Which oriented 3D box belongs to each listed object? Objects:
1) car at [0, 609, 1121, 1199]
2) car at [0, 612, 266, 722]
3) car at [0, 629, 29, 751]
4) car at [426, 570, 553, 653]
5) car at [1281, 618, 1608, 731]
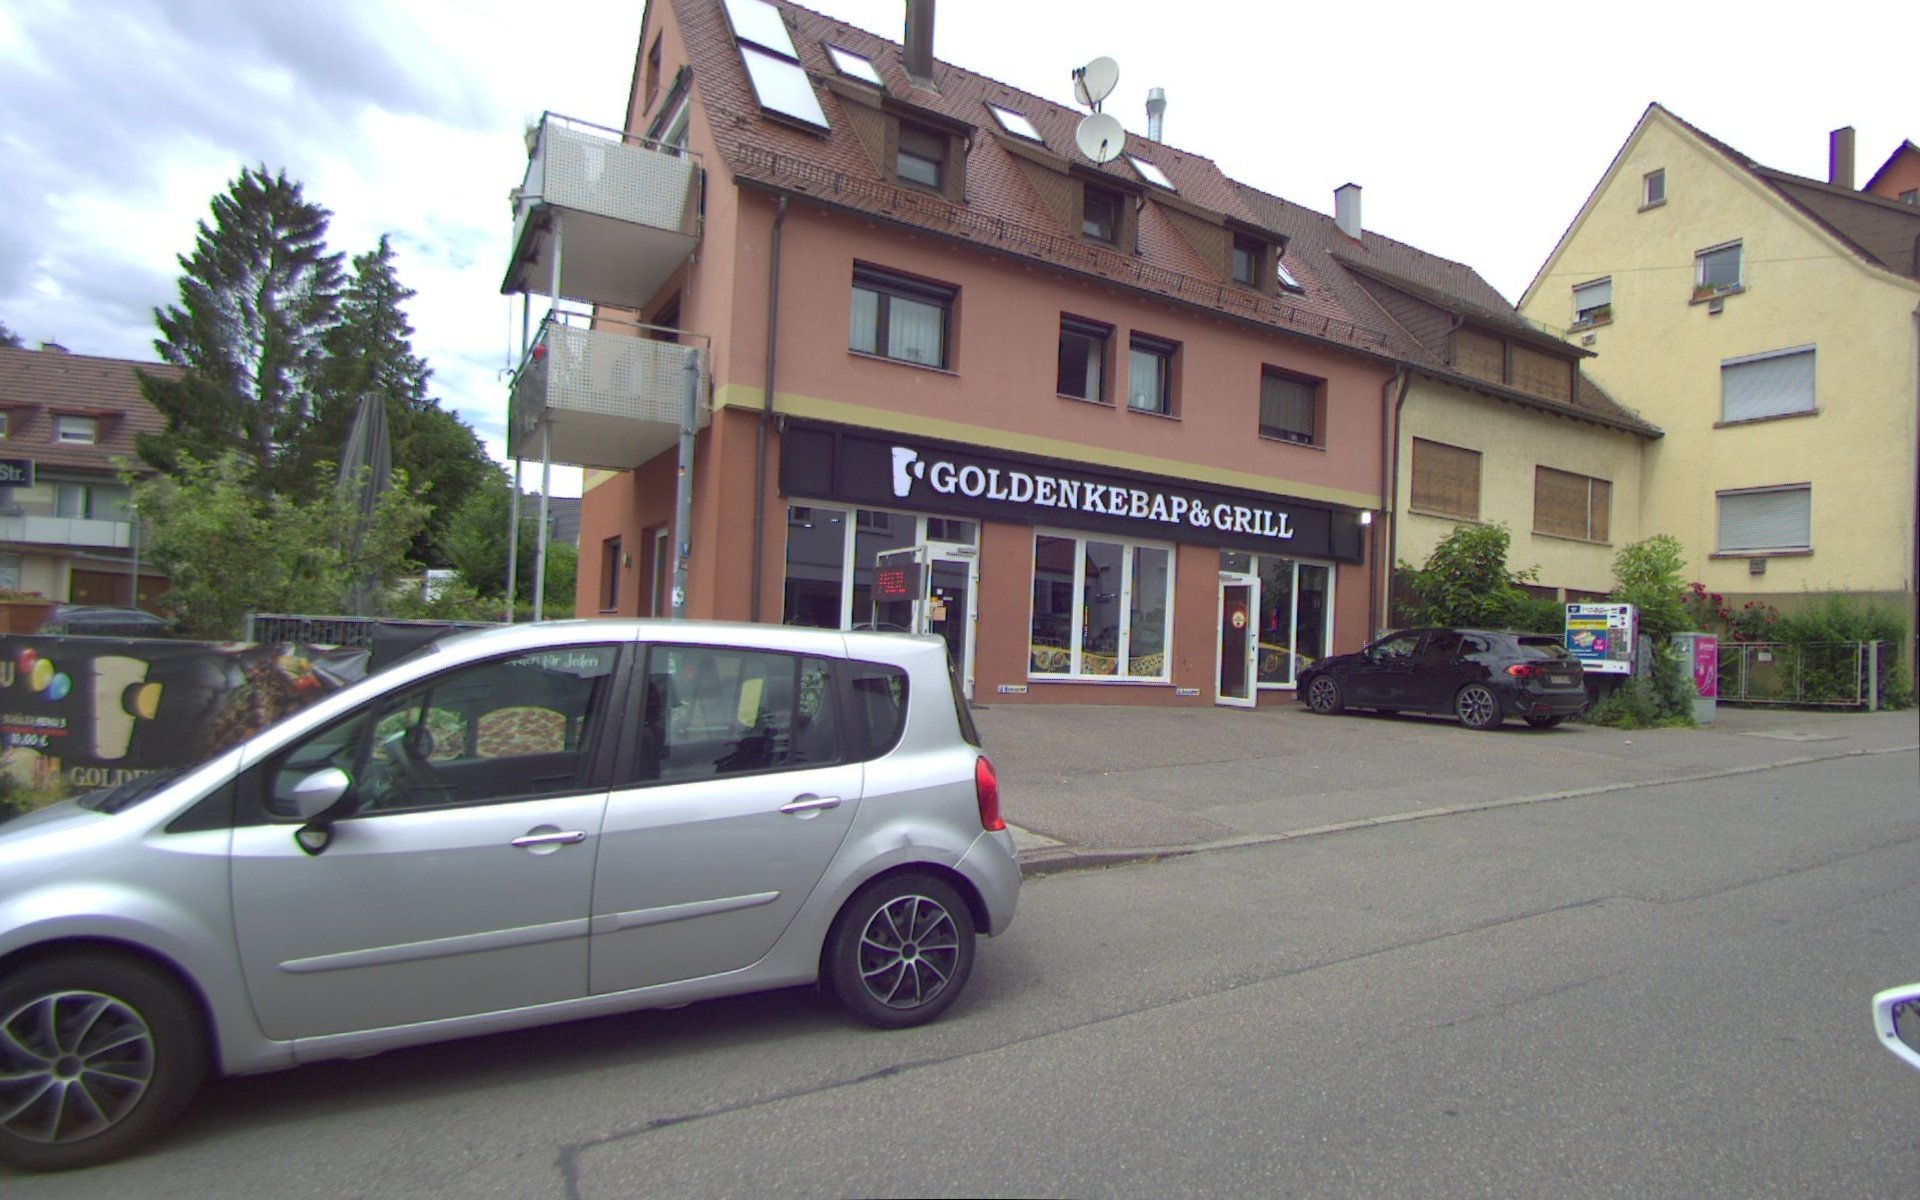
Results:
[{"bbox_3d":[-1.528,0.894,4.188,3.974,1.598,1.830,1,-4,-23],"label":"car"},{"bbox_3d":[-14.312,1.070,17.364,1.963,1.584,4.413,3,-2,-8],"label":"car"},{"bbox_3d":[-12.589,1.029,10.486,1.963,1.491,4.413,3,-2,-8],"label":"car"},{"bbox_3d":[-17.418,0.384,37.555,2.633,2.861,5.470,1,0,-6],"label":"car"},{"bbox_3d":[7.268,1.078,15.528,1.976,1.491,4.212,3,-3,-28],"label":"car"}]
